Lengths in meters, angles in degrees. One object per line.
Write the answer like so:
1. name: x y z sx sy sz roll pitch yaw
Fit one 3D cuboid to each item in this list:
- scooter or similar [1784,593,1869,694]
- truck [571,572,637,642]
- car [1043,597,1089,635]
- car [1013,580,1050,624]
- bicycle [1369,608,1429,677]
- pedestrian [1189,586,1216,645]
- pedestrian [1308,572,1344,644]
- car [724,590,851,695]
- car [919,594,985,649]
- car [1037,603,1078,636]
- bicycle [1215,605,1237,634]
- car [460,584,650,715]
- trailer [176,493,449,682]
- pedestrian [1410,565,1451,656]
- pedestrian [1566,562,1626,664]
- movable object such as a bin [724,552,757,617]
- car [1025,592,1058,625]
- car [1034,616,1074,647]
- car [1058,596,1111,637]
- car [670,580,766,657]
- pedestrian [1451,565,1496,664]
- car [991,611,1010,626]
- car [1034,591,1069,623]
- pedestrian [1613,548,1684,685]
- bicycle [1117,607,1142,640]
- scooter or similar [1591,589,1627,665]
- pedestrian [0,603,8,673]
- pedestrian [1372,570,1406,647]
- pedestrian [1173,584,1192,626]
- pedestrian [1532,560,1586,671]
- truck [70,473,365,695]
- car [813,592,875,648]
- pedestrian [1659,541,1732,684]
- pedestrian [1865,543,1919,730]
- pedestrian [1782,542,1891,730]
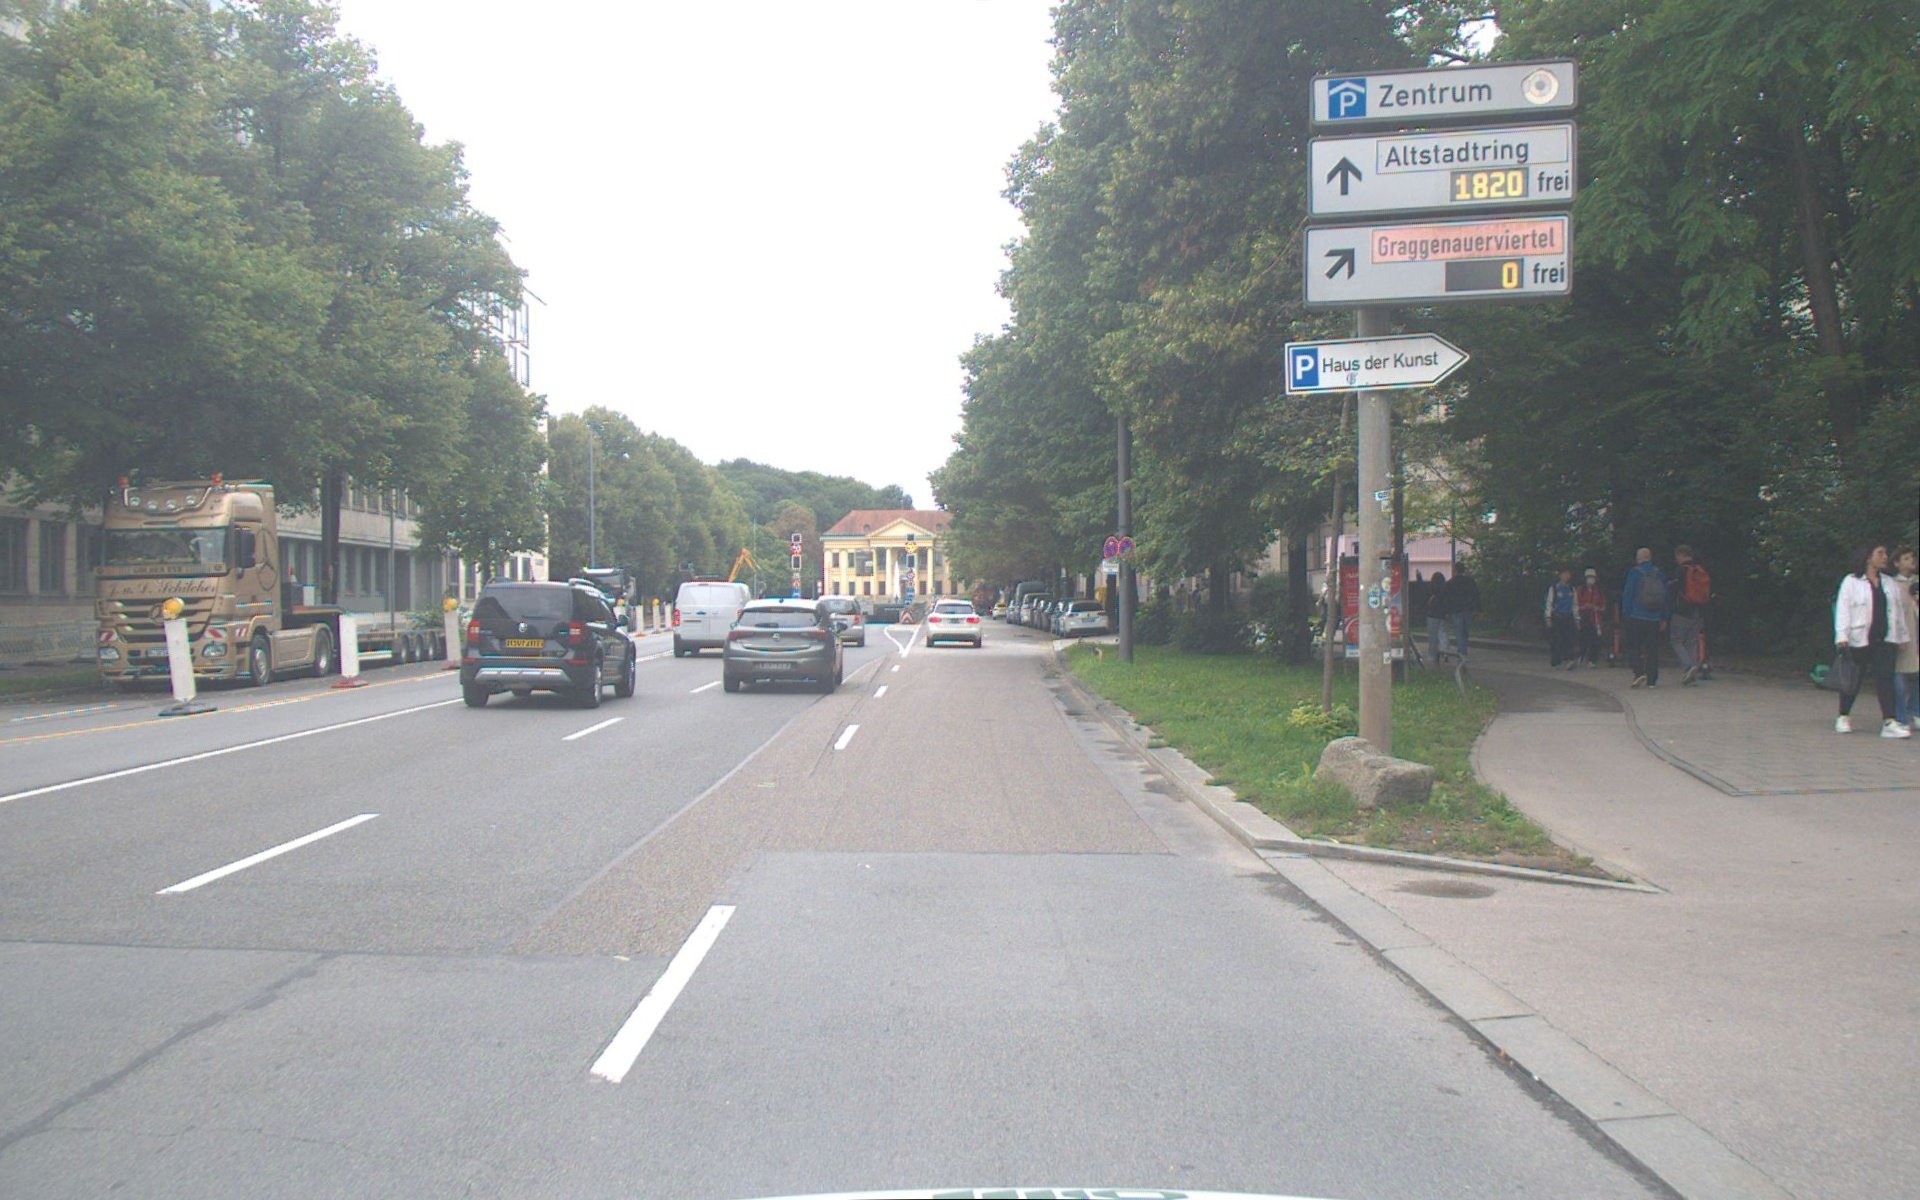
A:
1. scooter or similar: 10.806 0.526 20.658 0.409 1.219 1.219 1 0 0
2. truck: -18.333 0.348 85.612 2.788 3.415 8.746 1 0 -9
3. car: 4.599 0.687 72.076 1.689 1.577 4.585 -1 0 0
4. car: 4.502 0.107 105.081 1.953 2.689 4.875 1 0 -2
5. bicycle: 6.843 0.644 25.871 0.376 1.039 2.079 1 0 0
6. pedestrian: 8.049 0.514 54.843 0.763 1.943 0.771 1 0 0
7. pedestrian: 10.727 0.222 48.477 0.747 2.048 0.776 -3 0 0
8. car: -2.777 0.661 27.371 1.675 1.579 3.999 1 0 0
9. car: -0.284 0.668 52.972 1.745 1.673 3.995 1 0 -6
10. car: 4.615 0.898 78.859 1.689 1.490 4.775 -1 0 0
11. bicycle: 13.543 0.998 84.246 0.685 1.440 2.298 -1 0 -1
12. car: -5.571 0.649 23.246 1.687 1.665 4.203 -1 -1 -1
13. trailer: -14.951 -0.234 39.465 2.892 3.805 11.756 1 0 -6
14. pedestrian: 8.914 0.197 31.350 0.595 1.710 0.754 1 0 3
15. pedestrian: 10.547 0.222 27.448 0.669 1.666 0.661 1 0 -12
16. movable object such as a bin: -22.833 -1.566 172.127 2.644 6.625 5.175 1 0 -1
17. car: 4.809 0.522 97.976 1.689 1.900 4.027 -1 0 0
18. car: 4.758 1.571 84.358 1.785 1.490 4.027 -1 0 0
19. car: 4.989 0.664 66.912 1.790 1.577 4.751 -1 0 0
20. car: -6.277 0.468 43.320 1.860 1.880 4.954 -1 -1 -1
21. pedestrian: 9.517 0.262 30.659 0.595 1.794 0.797 1 0 3
22. car: 3.695 1.705 151.850 1.689 1.347 4.027 -1 0 0
23. car: 5.011 0.401 90.900 1.689 1.694 4.589 -1 0 0
24. pedestrian: 9.107 0.214 21.915 0.738 1.767 0.850 1 0 15
25. bicycle: 6.701 0.917 65.562 0.616 1.252 2.617 1 0 -2
26. scooter or similar: 10.831 0.440 27.605 0.300 1.245 0.922 -1 0 38
27. pedestrian: -24.443 0.943 41.548 0.566 1.762 0.764 1 0 0
28. pedestrian: 10.123 0.201 39.067 0.617 1.805 0.782 1 0 3
29. pedestrian: 10.237 0.235 76.165 0.748 1.943 0.771 1 0 0
30. pedestrian: 9.746 0.240 26.921 0.738 1.767 0.850 1 0 15
31. truck: -14.327 -0.268 32.708 2.859 3.841 7.658 1 0 -5
32. car: -3.664 0.620 52.786 1.743 1.683 3.999 1 0 -1
33. pedestrian: 9.748 0.168 21.937 0.576 1.854 0.850 1 0 0
34. pedestrian: 8.742 0.329 15.049 0.738 1.672 0.691 1 0 15
35. pedestrian: 7.979 0.318 15.082 0.738 1.672 0.651 1 -1 15
